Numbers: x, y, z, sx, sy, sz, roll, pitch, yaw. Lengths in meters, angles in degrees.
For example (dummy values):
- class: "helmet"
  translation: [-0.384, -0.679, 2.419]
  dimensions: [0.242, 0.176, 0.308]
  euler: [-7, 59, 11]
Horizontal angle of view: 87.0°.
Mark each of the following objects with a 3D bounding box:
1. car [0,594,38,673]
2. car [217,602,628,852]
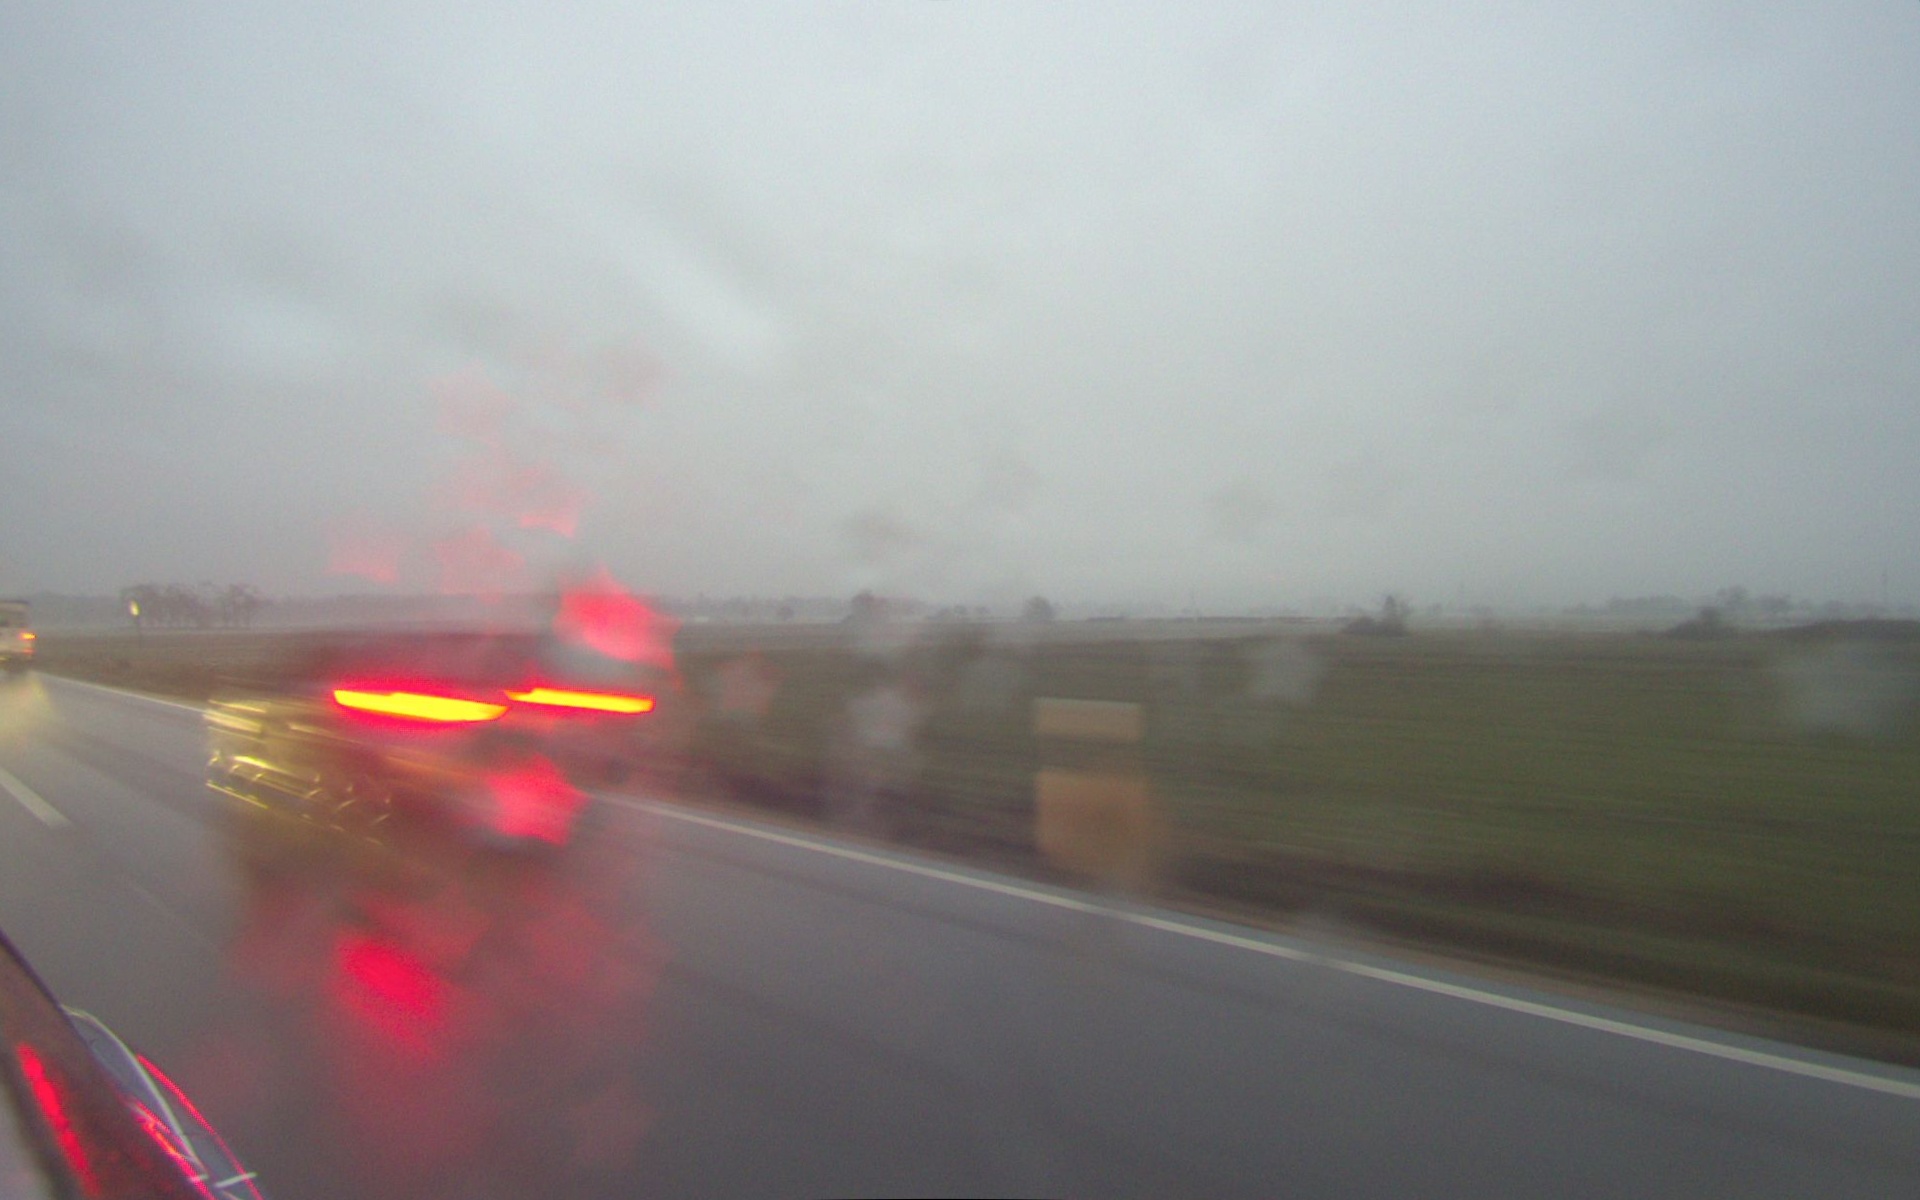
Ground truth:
- class: "car"
  translation: [-26.935, 0.904, 27.831]
  dimensions: [4.292, 2.068, 1.847]
  euler: [-1, -2, 41]
- class: "car"
  translation: [-4.249, 0.808, 7.799]
  dimensions: [3.510, 1.483, 1.609]
  euler: [-1, -3, 41]
